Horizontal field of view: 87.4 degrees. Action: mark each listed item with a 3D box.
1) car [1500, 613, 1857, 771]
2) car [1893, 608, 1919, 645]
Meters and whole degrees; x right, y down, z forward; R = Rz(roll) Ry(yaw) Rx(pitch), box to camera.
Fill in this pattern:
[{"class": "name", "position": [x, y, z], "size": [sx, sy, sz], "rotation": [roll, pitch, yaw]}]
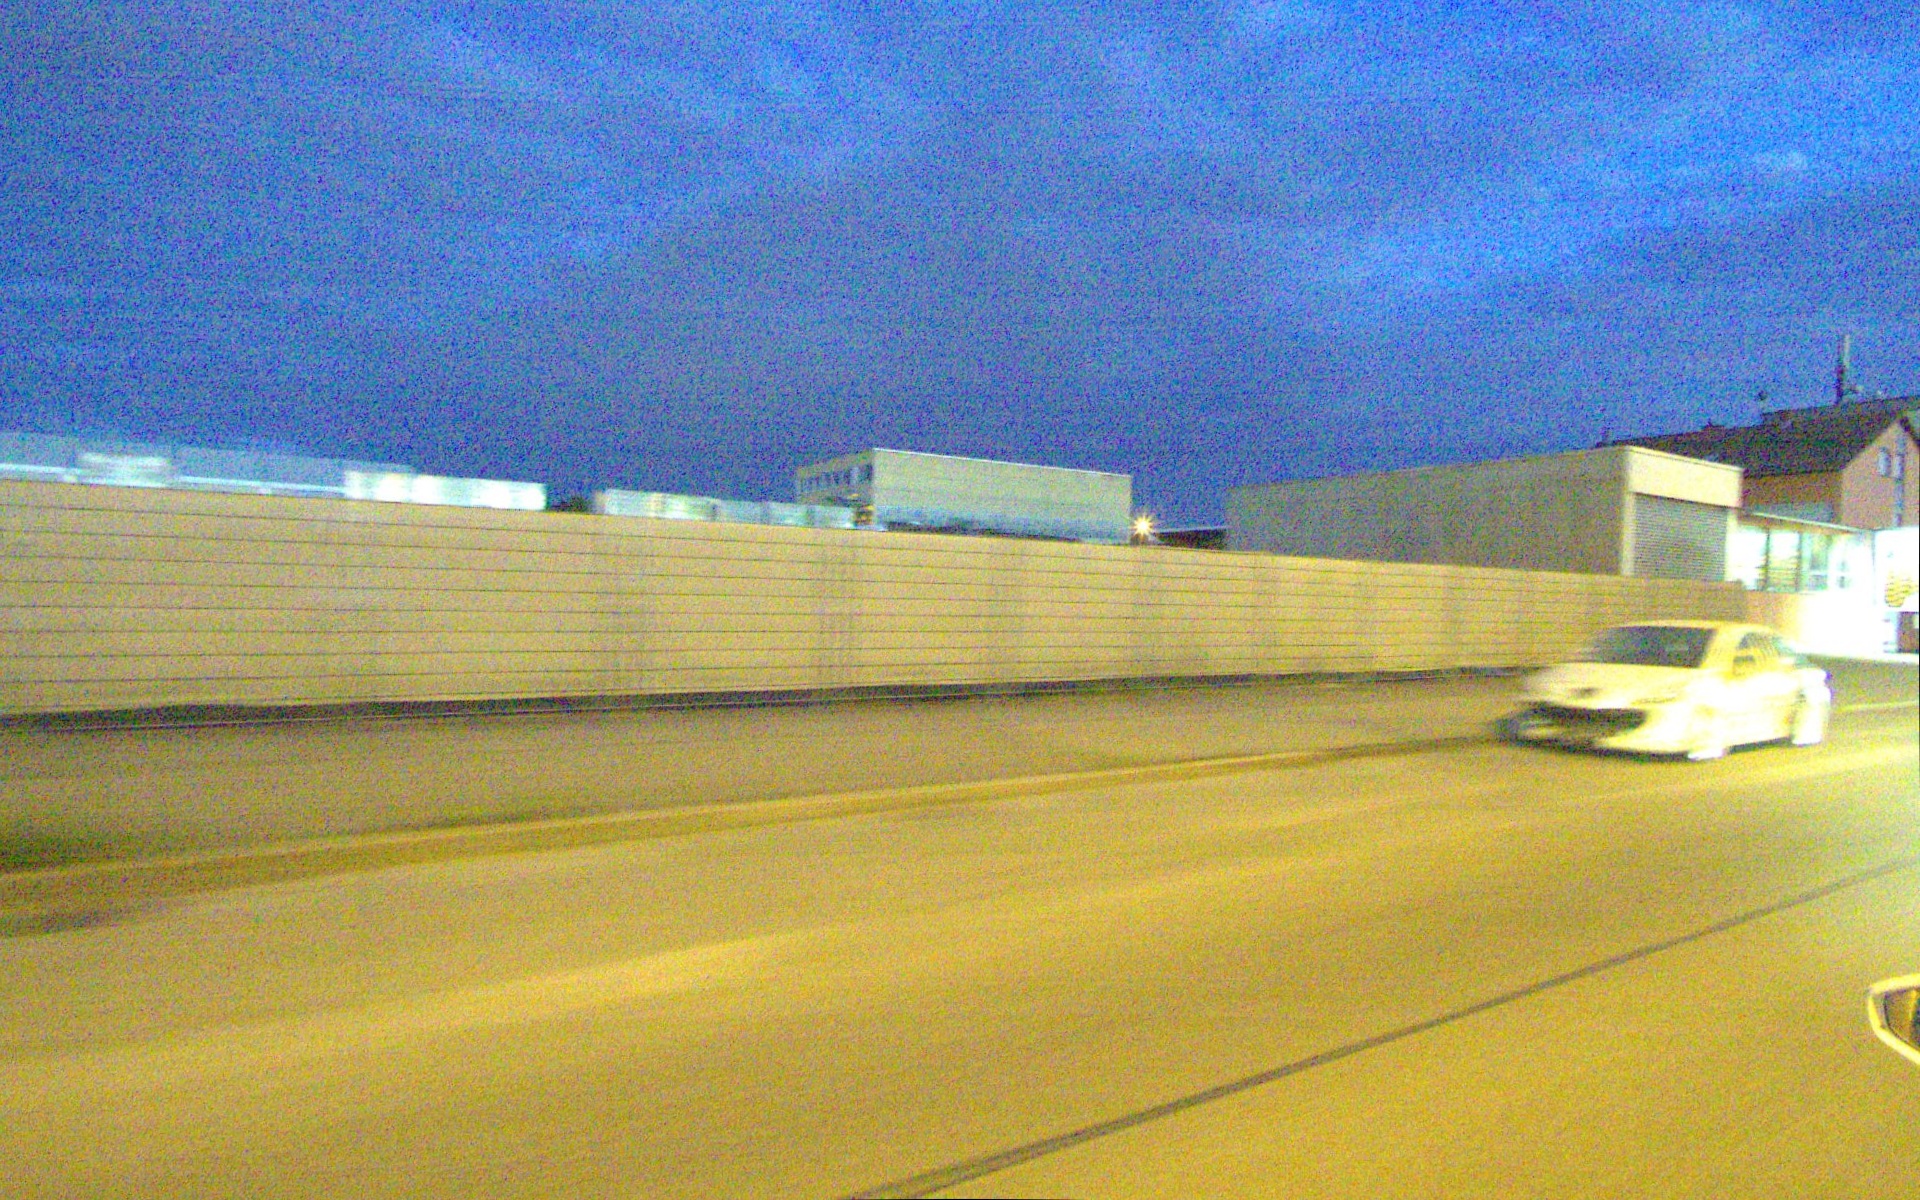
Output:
[{"class": "car", "position": [8.137, 0.921, 11.322], "size": [3.954, 1.439, 1.832], "rotation": [1, 1, -31]}, {"class": "car", "position": [45.101, 1.269, 45.380], "size": [1.978, 1.673, 3.964], "rotation": [1, 1, -33]}]
